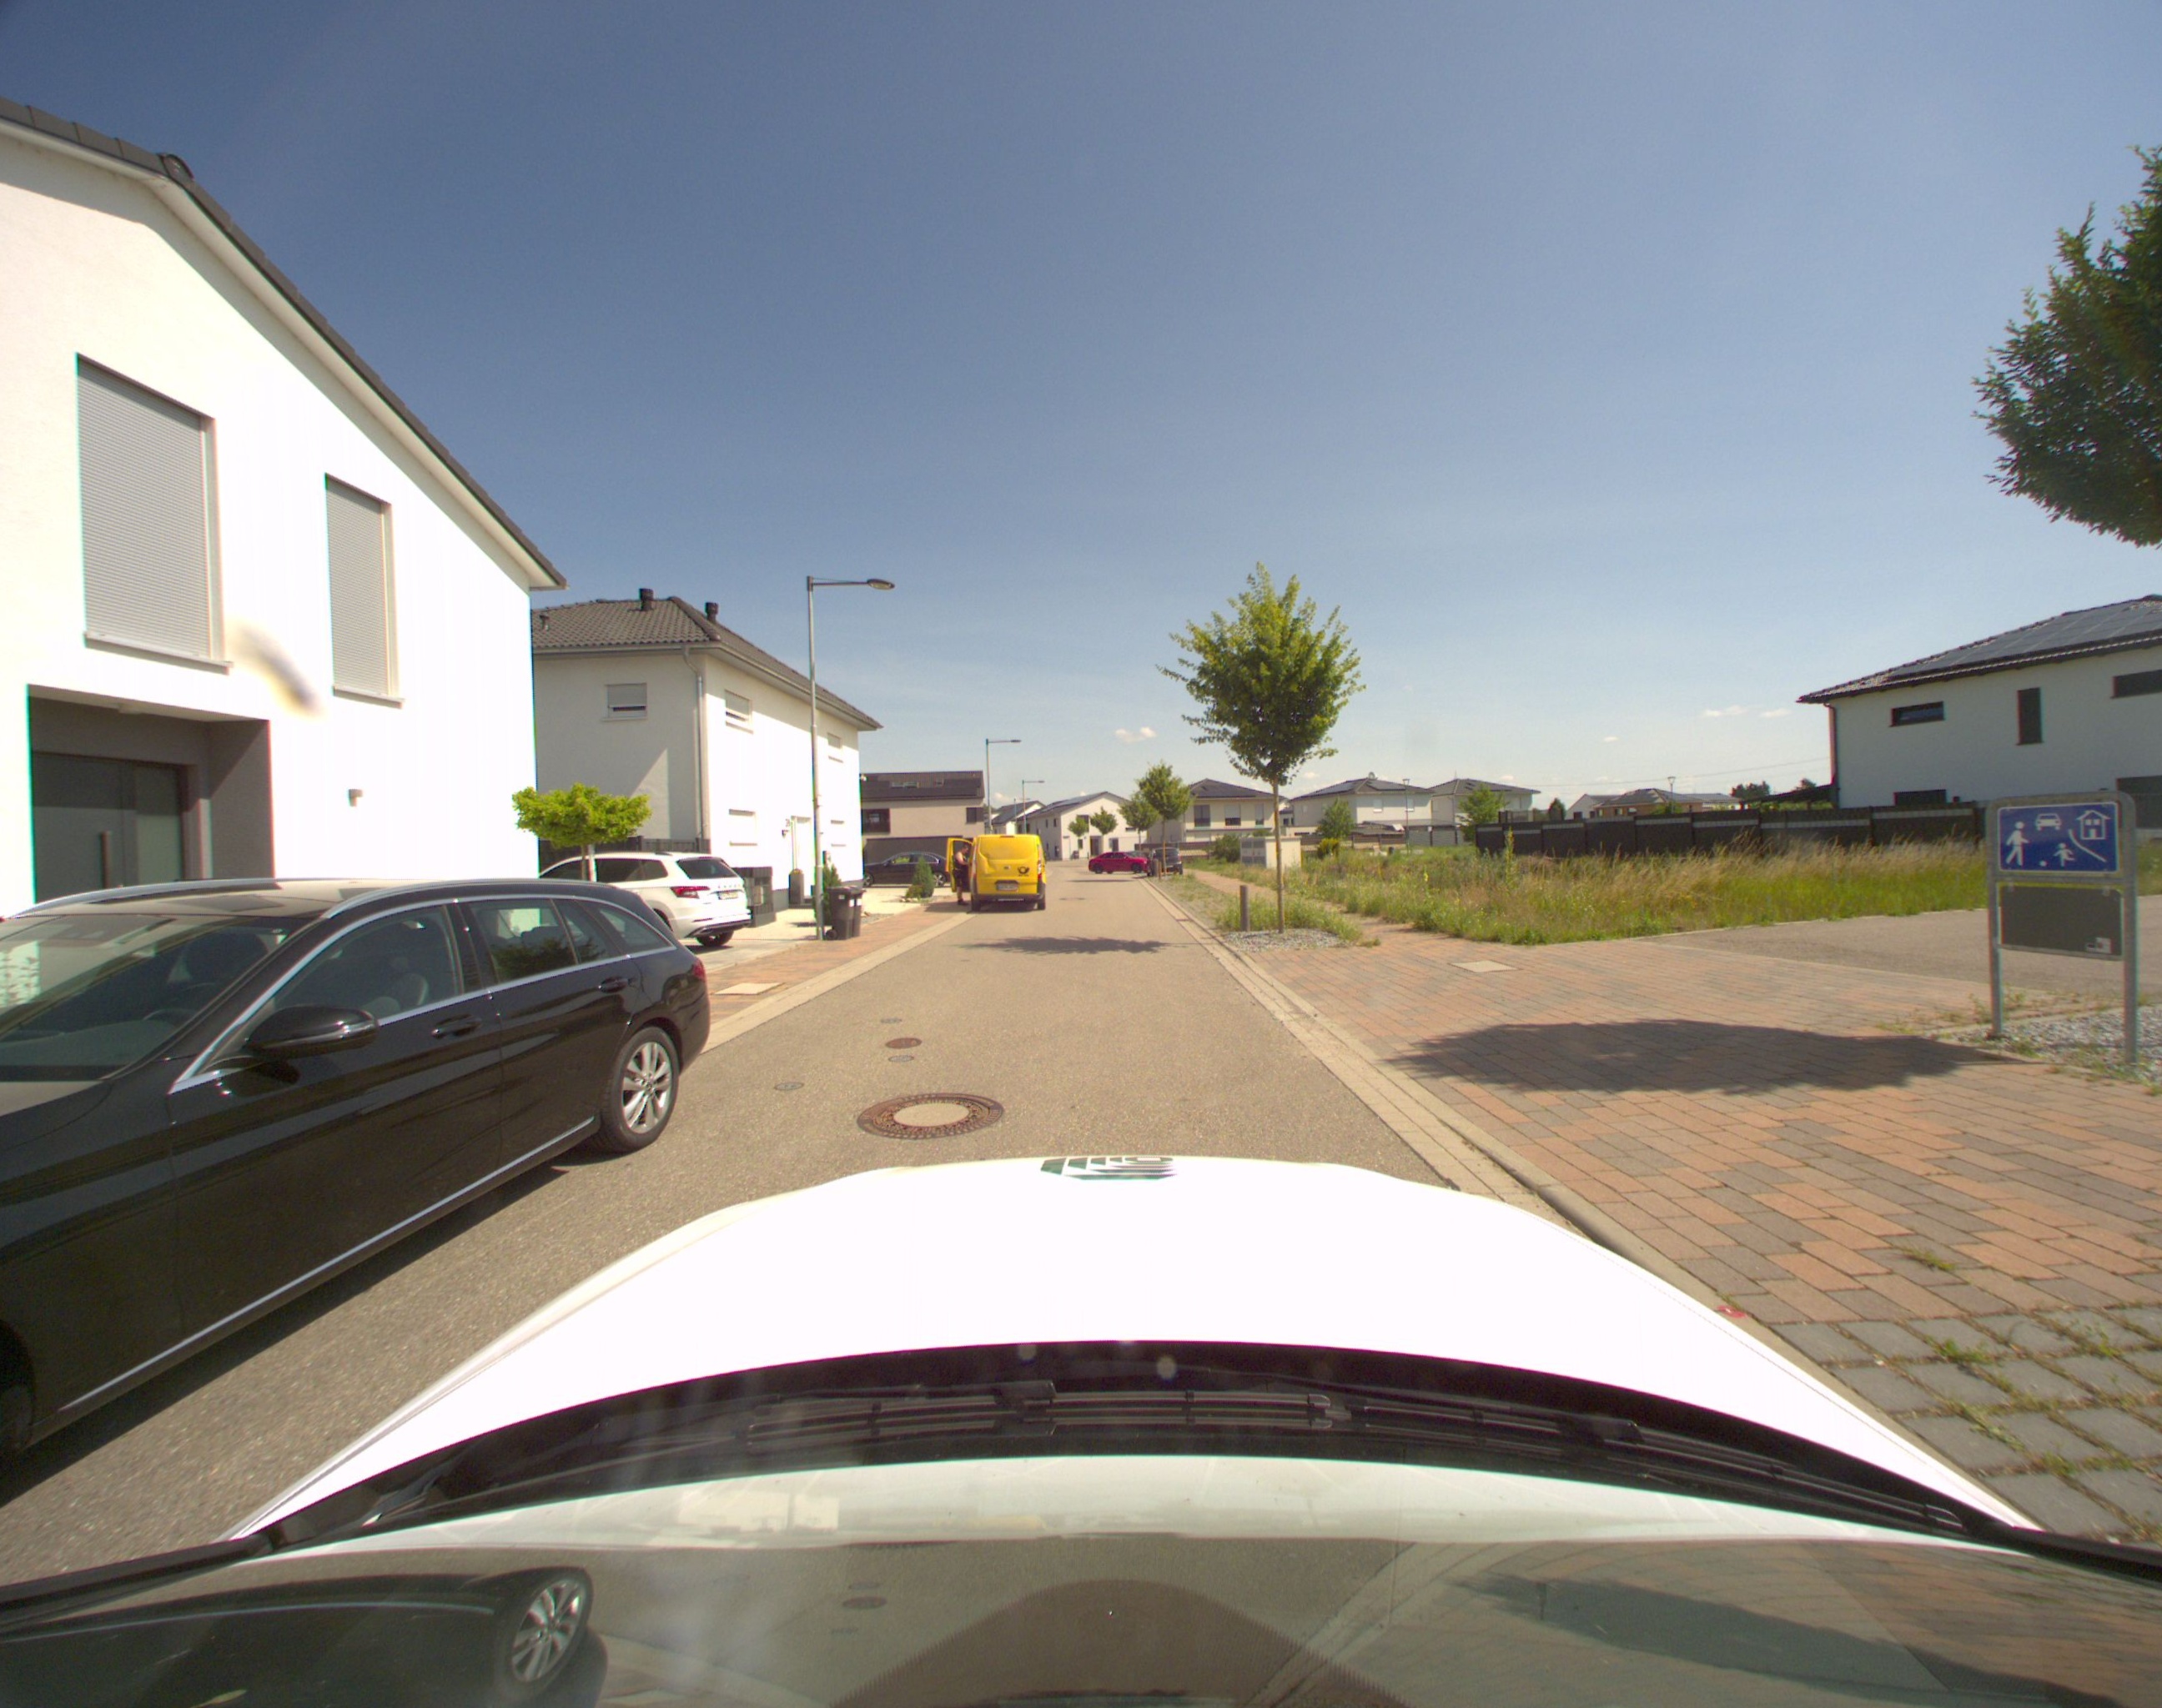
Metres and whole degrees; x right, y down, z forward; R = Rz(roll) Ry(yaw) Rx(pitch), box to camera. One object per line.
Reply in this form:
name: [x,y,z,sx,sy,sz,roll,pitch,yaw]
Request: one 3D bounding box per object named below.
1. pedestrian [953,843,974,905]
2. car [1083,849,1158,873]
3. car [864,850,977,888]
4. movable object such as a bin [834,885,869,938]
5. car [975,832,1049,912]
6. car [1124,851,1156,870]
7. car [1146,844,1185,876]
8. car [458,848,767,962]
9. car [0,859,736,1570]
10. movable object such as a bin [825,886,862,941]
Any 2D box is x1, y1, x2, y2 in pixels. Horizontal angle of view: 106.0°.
pedestrian: [-3.338,0.561,23.154,0.530,1.738,0.569,0,0,-5]
car: [2.501,0.448,52.158,4.462,1.438,1.779,-1,0,29]
car: [-6.576,0.580,33.480,4.396,1.452,1.742,-1,0,-12]
movable object such as a bin: [-4.271,1.059,15.166,0.484,0.925,0.530,-2,0,-1]
car: [-1.852,0.454,23.016,1.879,2.013,4.836,0,0,-3]
car: [4.433,0.449,61.535,1.751,1.363,4.569,-1,0,-4]
car: [4.386,0.281,42.607,1.593,1.475,3.674,-4,0,0]
car: [-7.399,0.774,13.090,3.935,1.619,1.797,-2,0,6]
car: [-3.127,0.794,2.984,1.684,1.472,4.447,1,0,2]
movable object such as a bin: [-4.267,1.059,14.627,0.484,0.925,0.530,-2,0,-1]
